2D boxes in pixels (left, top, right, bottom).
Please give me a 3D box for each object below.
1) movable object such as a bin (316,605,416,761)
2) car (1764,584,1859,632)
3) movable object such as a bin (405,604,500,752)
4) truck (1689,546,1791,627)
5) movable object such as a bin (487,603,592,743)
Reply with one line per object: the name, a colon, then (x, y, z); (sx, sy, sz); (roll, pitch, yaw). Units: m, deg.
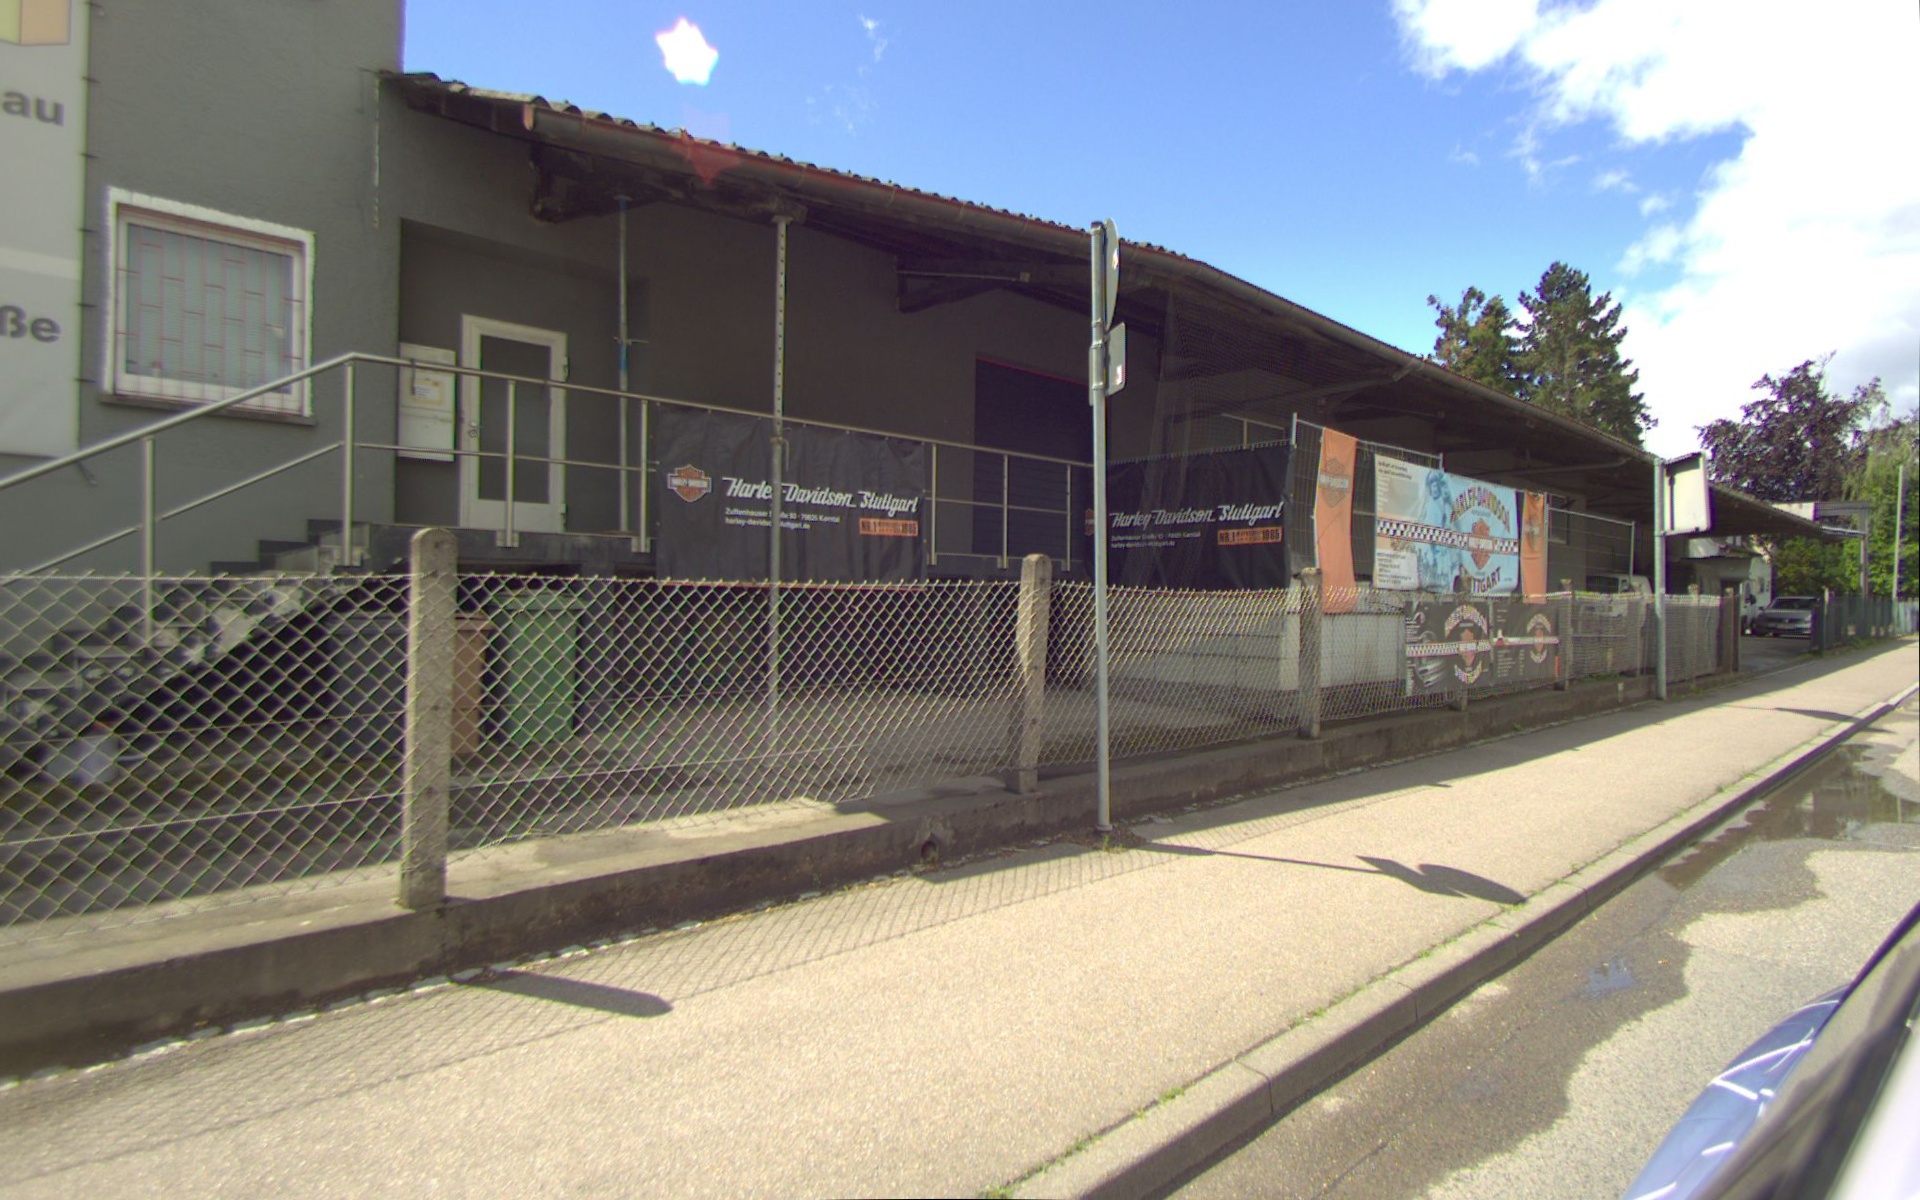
movable object such as a bin: (-3.820, 0.509, 6.508); (0.466, 0.942, 0.482); (0, 0, -42)
car: (29.863, 0.233, 35.438); (5.114, 1.549, 1.860); (-1, 1, -42)
movable object such as a bin: (-3.437, 0.504, 6.858); (0.466, 0.942, 0.482); (0, 0, -42)
truck: (29.516, -0.507, 38.227); (5.112, 2.864, 2.089); (-1, 0, -41)
movable object such as a bin: (-3.012, 0.498, 7.249); (0.574, 0.942, 0.482); (0, 0, -42)
